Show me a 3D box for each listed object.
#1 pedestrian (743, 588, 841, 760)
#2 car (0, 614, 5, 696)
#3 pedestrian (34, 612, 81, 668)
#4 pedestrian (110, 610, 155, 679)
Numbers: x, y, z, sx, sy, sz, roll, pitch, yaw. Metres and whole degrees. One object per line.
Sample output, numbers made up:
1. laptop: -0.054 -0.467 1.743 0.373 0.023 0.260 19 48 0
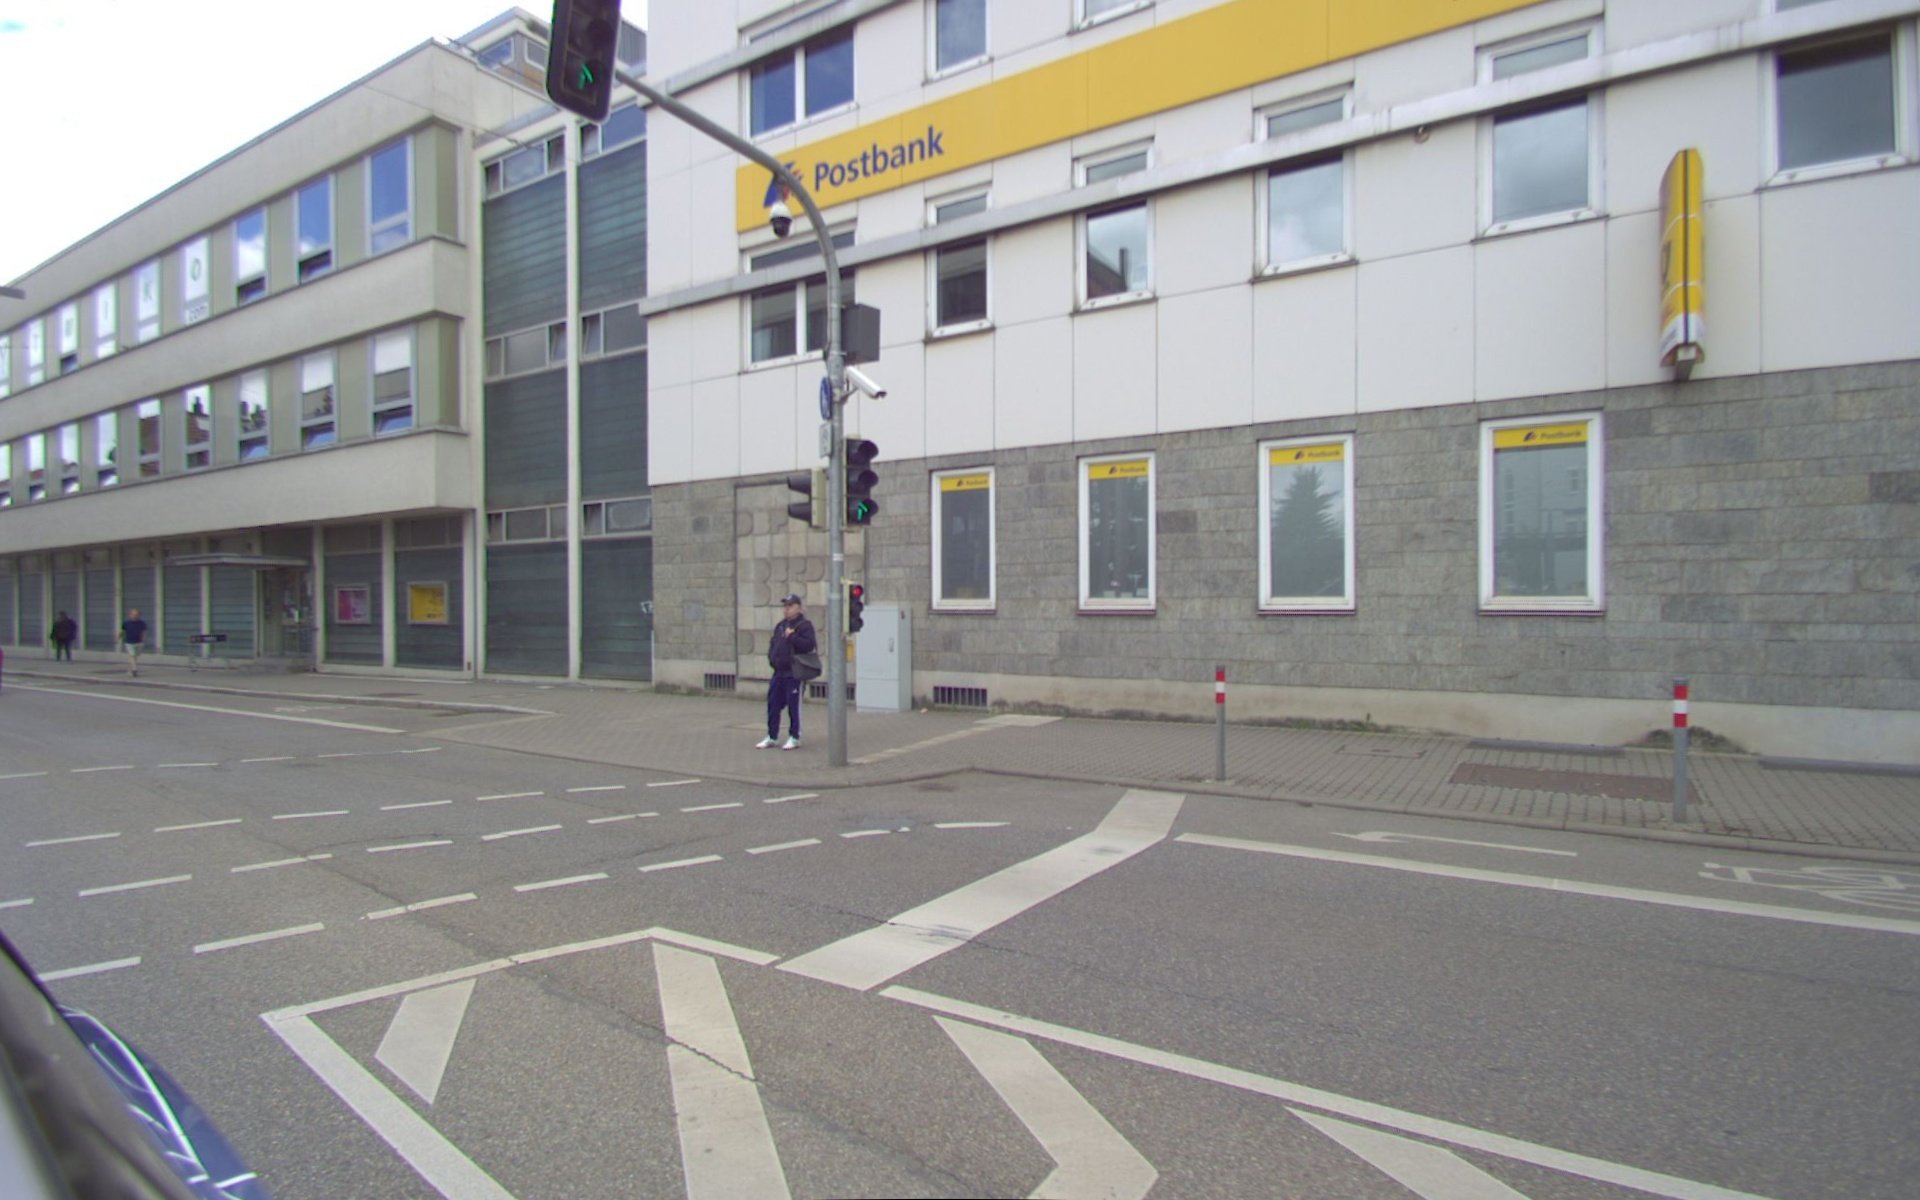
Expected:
1. pedestrian: -1.783 0.749 10.744 0.782 1.731 0.641 -1 0 41
2. car: -22.106 1.173 21.545 3.887 1.707 1.784 -1 -1 34
3. pedestrian: -29.317 1.288 32.867 1.028 1.731 0.855 -1 1 31
4. pedestrian: -21.125 1.131 25.841 1.051 1.731 0.585 -1 -1 32
